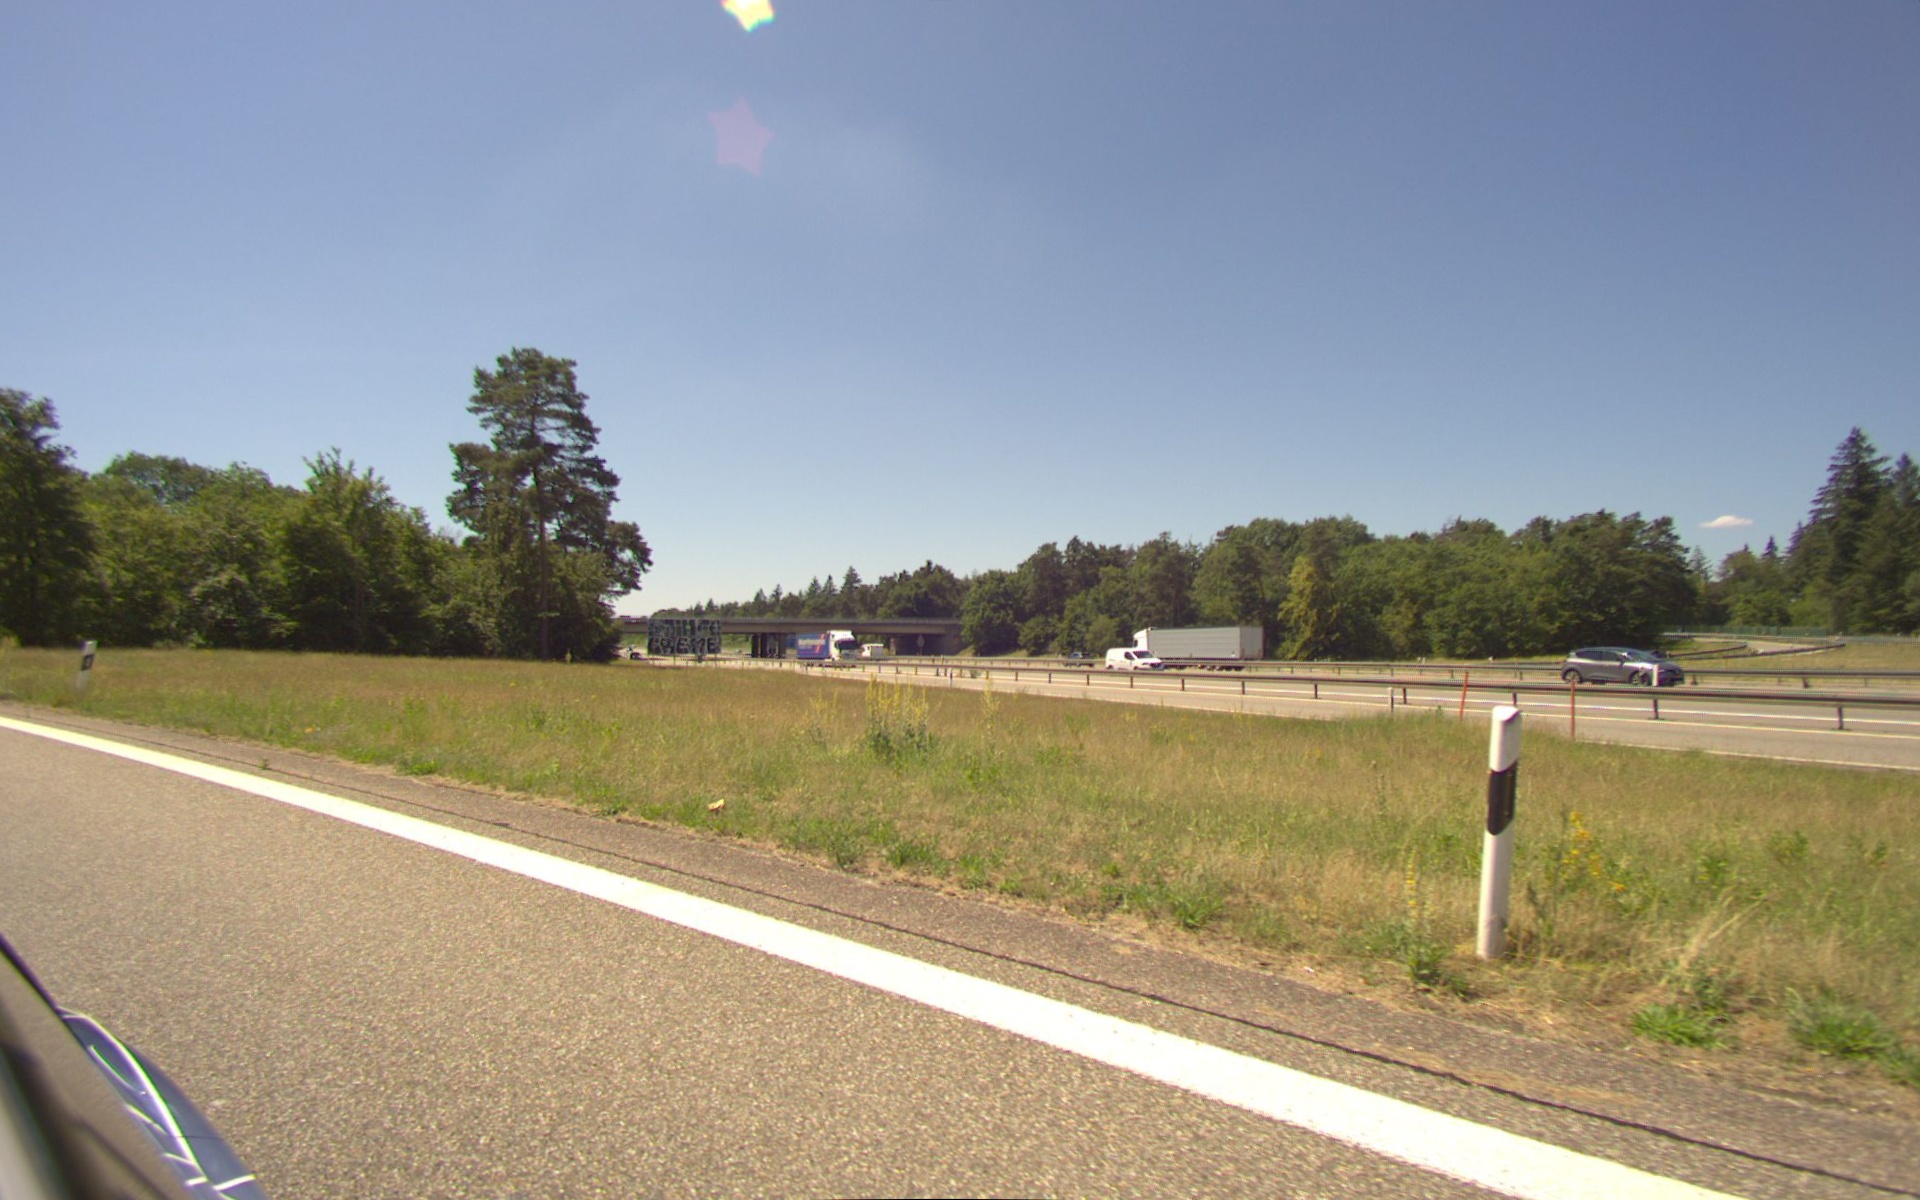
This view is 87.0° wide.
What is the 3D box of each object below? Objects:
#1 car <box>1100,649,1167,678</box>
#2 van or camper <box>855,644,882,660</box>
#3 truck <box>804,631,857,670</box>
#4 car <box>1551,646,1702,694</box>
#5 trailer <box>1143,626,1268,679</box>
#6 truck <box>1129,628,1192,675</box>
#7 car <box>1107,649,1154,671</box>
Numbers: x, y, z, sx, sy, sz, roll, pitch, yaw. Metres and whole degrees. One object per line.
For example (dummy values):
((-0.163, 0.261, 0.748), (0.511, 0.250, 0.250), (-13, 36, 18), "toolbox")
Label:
((11.120, 4.086, 65.247), (1.746, 1.767, 5.036), (1, -3, -24), "car")
((-15.003, 8.523, 165.939), (2.211, 2.395, 5.845), (3, -4, -27), "van or camper")
((-14.615, 5.697, 113.473), (2.665, 4.089, 11.083), (0, -3, -25), "truck")
((26.714, 2.747, 40.772), (1.746, 1.697, 4.841), (0, -2, -24), "car")
((22.242, 4.795, 93.081), (2.883, 4.421, 14.343), (3, -4, -25), "trailer")
((19.513, 5.050, 99.008), (2.897, 4.426, 6.291), (3, -4, -25), "truck")
((15.119, 5.322, 89.907), (1.965, 1.863, 4.372), (1, -4, -23), "car")
